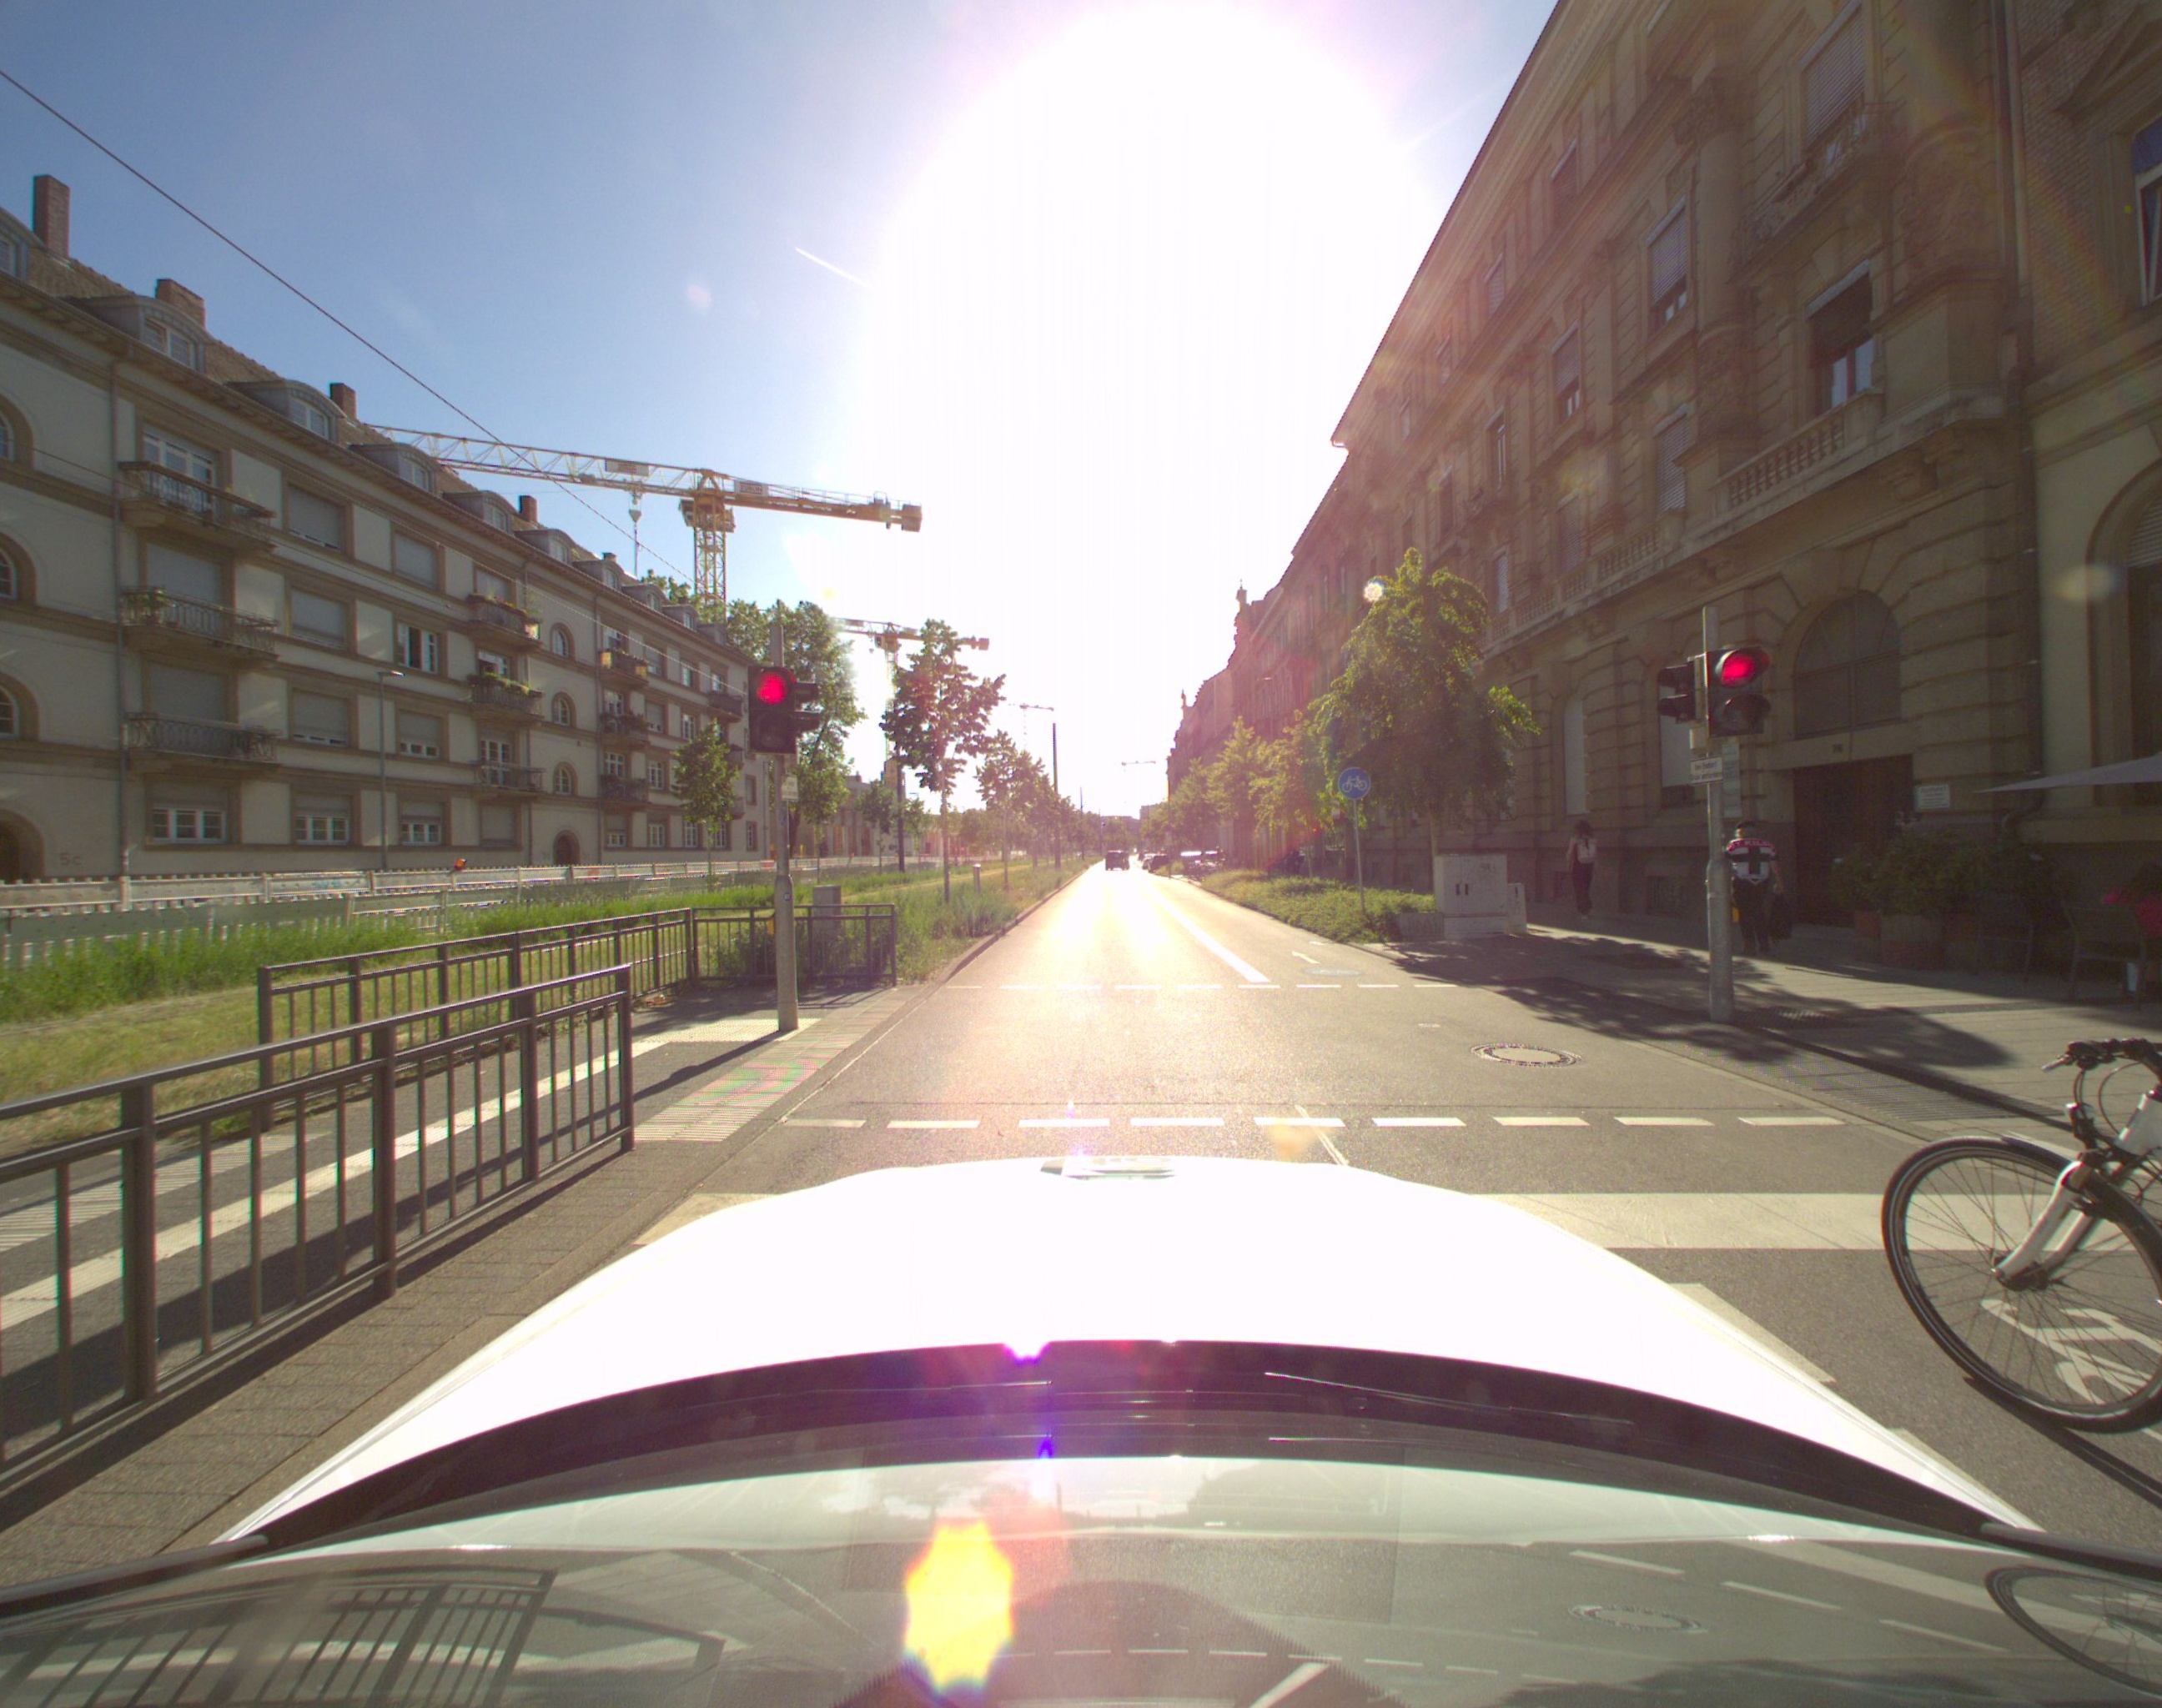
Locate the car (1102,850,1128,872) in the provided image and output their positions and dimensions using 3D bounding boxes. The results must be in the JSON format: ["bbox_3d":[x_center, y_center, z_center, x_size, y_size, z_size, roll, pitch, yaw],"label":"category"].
[{"bbox_3d":[3.283,0.631,77.280,1.982,2.014,4.010,-1,-1,9],"label":"car"}]

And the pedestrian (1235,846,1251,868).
[{"bbox_3d":[12.150,0.217,61.104,0.967,1.639,0.993,-3,1,2],"label":"pedestrian"}]

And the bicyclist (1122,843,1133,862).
[{"bbox_3d":[4.947,-0.149,86.659,1.205,2.015,1.642,0,-1,2],"label":"bicyclist"}]

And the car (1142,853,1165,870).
[{"bbox_3d":[7.065,0.734,80.280,1.944,1.495,5.108,-3,0,2],"label":"car"}]

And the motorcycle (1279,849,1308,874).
[{"bbox_3d":[11.520,0.410,44.254,0.862,1.266,2.983,0,-1,2],"label":"motorcycle"}]

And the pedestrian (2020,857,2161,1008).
[{"bbox_3d":[8.912,0.630,6.959,0.715,1.183,0.881,-2,-1,1],"label":"pedestrian"}]

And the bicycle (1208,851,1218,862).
[{"bbox_3d":[13.549,0.208,83.922,0.718,1.090,2.200,-3,0,2],"label":"bicycle"}]

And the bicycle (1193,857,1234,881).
[{"bbox_3d":[6.723,0.746,41.426,1.971,1.108,0.435,-3,-1,-1],"label":"bicycle"}]

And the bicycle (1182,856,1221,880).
[{"bbox_3d":[6.586,0.741,44.433,1.970,1.124,0.481,-5,1,-4],"label":"bicycle"}]

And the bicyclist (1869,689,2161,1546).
[{"bbox_3d":[2.647,0.558,1.803,0.722,1.817,1.088,0,0,-7],"label":"bicyclist"}]

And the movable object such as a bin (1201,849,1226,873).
[{"bbox_3d":[8.923,0.473,54.806,1.368,1.495,1.750,-4,-1,3],"label":"movable object such as a bin"}]

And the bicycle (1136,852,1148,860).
[{"bbox_3d":[10.269,0.293,137.615,1.875,1.233,0.499,-4,-1,-4],"label":"bicycle"}]

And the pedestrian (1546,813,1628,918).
[{"bbox_3d":[9.851,0.217,15.908,0.885,1.920,1.100,-3,0,7],"label":"pedestrian"}]

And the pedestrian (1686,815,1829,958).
[{"bbox_3d":[8.627,0.397,10.451,0.962,1.692,1.118,-3,0,16],"label":"pedestrian"}]

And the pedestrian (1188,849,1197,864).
[{"bbox_3d":[13.096,0.273,95.431,0.992,1.731,0.866,0,-1,1],"label":"pedestrian"}]

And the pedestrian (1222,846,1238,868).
[{"bbox_3d":[11.065,0.197,60.556,0.947,1.566,1.080,-2,1,1],"label":"pedestrian"}]

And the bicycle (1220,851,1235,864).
[{"bbox_3d":[13.062,0.322,72.756,0.873,1.105,2.181,-4,0,-1],"label":"bicycle"}]

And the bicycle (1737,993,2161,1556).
[{"bbox_3d":[2.651,0.986,1.788,0.722,1.006,1.948,0,0,-6],"label":"bicycle"}]

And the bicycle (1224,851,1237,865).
[{"bbox_3d":[12.771,0.333,69.695,0.745,1.201,1.802,-3,-1,2],"label":"bicycle"}]

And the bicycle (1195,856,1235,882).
[{"bbox_3d":[6.563,0.725,39.967,1.860,1.179,0.373,-2,-1,-1],"label":"bicycle"}]

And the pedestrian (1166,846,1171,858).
[{"bbox_3d":[14.895,-0.259,139.125,0.814,2.014,1.046,0,-3,2],"label":"pedestrian"}]

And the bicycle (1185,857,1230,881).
[{"bbox_3d":[6.617,0.785,42.595,2.287,1.102,0.484,-3,0,-13],"label":"bicycle"}]

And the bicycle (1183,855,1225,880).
[{"bbox_3d":[6.487,0.711,42.942,2.148,1.154,0.428,-5,0,-12],"label":"bicycle"}]

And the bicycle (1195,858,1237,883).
[{"bbox_3d":[6.573,0.781,39.611,1.887,1.108,0.517,-3,-1,-4],"label":"bicycle"}]

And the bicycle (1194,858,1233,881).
[{"bbox_3d":[6.668,0.777,41.083,1.811,1.056,0.571,-3,-1,-4],"label":"bicycle"}]

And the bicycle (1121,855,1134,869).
[{"bbox_3d":[4.934,0.870,86.638,1.205,1.464,4.001,0,-1,2],"label":"bicycle"}]

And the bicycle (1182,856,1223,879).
[{"bbox_3d":[6.577,0.735,44.025,2.040,1.107,0.610,-4,0,-4],"label":"bicycle"}]

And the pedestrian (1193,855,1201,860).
[{"bbox_3d":[14.336,0.473,100.706,0.770,0.553,2.008,-2,1,2],"label":"pedestrian"}]

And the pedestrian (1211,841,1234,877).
[{"bbox_3d":[7.167,0.260,41.325,0.892,1.735,0.853,-5,0,18],"label":"pedestrian"}]

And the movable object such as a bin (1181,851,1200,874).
[{"bbox_3d":[7.327,0.539,54.671,1.264,1.463,1.647,0,2,7],"label":"movable object such as a bin"}]

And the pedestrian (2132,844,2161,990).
[{"bbox_3d":[9.864,0.542,6.902,0.722,1.282,0.888,-2,-1,1],"label":"pedestrian"}]

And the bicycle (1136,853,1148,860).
[{"bbox_3d":[10.464,0.366,139.145,1.821,1.078,0.664,-4,0,-4],"label":"bicycle"}]

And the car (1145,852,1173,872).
[{"bbox_3d":[6.463,0.665,67.579,1.760,1.477,4.447,-4,-1,-1],"label":"car"}]
